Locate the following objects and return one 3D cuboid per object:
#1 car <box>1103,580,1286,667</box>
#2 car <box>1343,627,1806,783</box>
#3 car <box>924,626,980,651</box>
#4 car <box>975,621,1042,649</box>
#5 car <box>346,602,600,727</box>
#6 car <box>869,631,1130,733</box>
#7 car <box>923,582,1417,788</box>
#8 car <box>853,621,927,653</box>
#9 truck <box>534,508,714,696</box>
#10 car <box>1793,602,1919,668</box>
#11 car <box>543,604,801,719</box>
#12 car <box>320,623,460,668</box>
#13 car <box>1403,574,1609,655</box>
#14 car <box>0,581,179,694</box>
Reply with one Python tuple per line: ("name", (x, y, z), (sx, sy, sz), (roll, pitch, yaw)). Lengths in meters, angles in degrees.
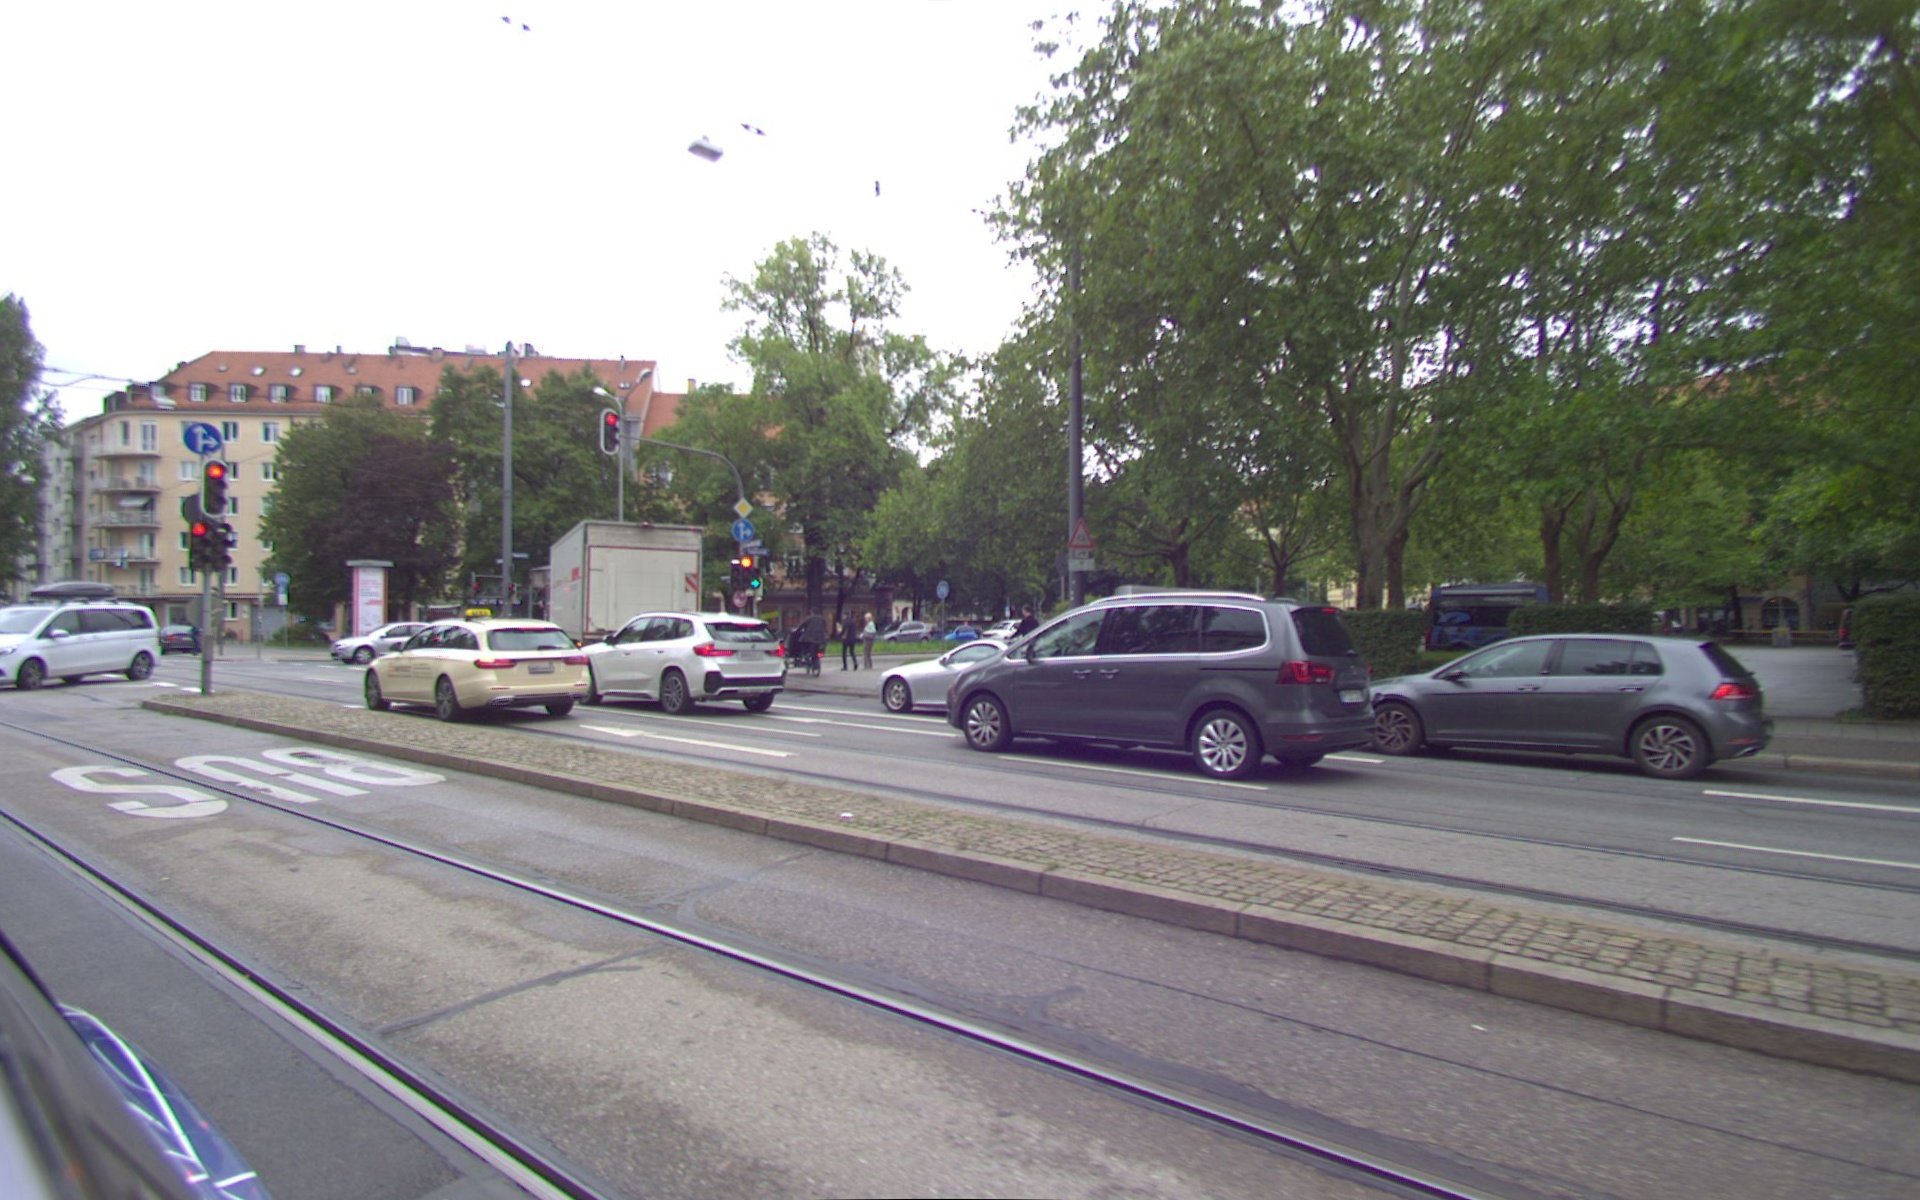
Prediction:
("car", (6.641, 0.685, 28.911), (4.557, 2.029, 2.003), (5, -3, -6))
("car", (6.619, 1.005, 11.189), (4.099, 1.391, 1.802), (-1, -2, 43))
("car", (-0.485, 2.433, 64.318), (1.524, 1.561, 3.611), (-2, -2, 42))
("car", (3.307, 2.356, 68.798), (1.849, 1.870, 4.954), (-2, -2, 42))
("car", (-7.673, 0.915, 15.710), (4.889, 1.651, 1.803), (-1, -2, 41))
("car", (0.543, 1.266, 16.445), (4.103, 1.422, 1.712), (-1, -5, 43))
("car", (1.970, 0.757, 10.693), (4.891, 1.696, 1.802), (-1, -2, 43))
("car", (-4.103, 2.177, 60.310), (1.935, 1.833, 4.496), (-1, -2, 38))
("truck", (-9.491, 0.241, 27.389), (2.701, 4.011, 11.752), (2, -2, -27))
("car", (26.009, 0.963, 28.278), (1.844, 1.752, 3.999), (0, -3, -44))
("car", (-5.002, 0.959, 17.176), (4.889, 1.696, 1.895), (-1, -2, 42))
("car", (-20.978, 1.655, 37.399), (1.772, 1.536, 4.157), (-3, -3, 35))
("car", (18.787, 0.577, 35.091), (1.970, 2.554, 5.867), (0, -3, -45))
("car", (-21.041, 0.847, 23.478), (1.888, 2.369, 4.941), (0, -1, 2))
